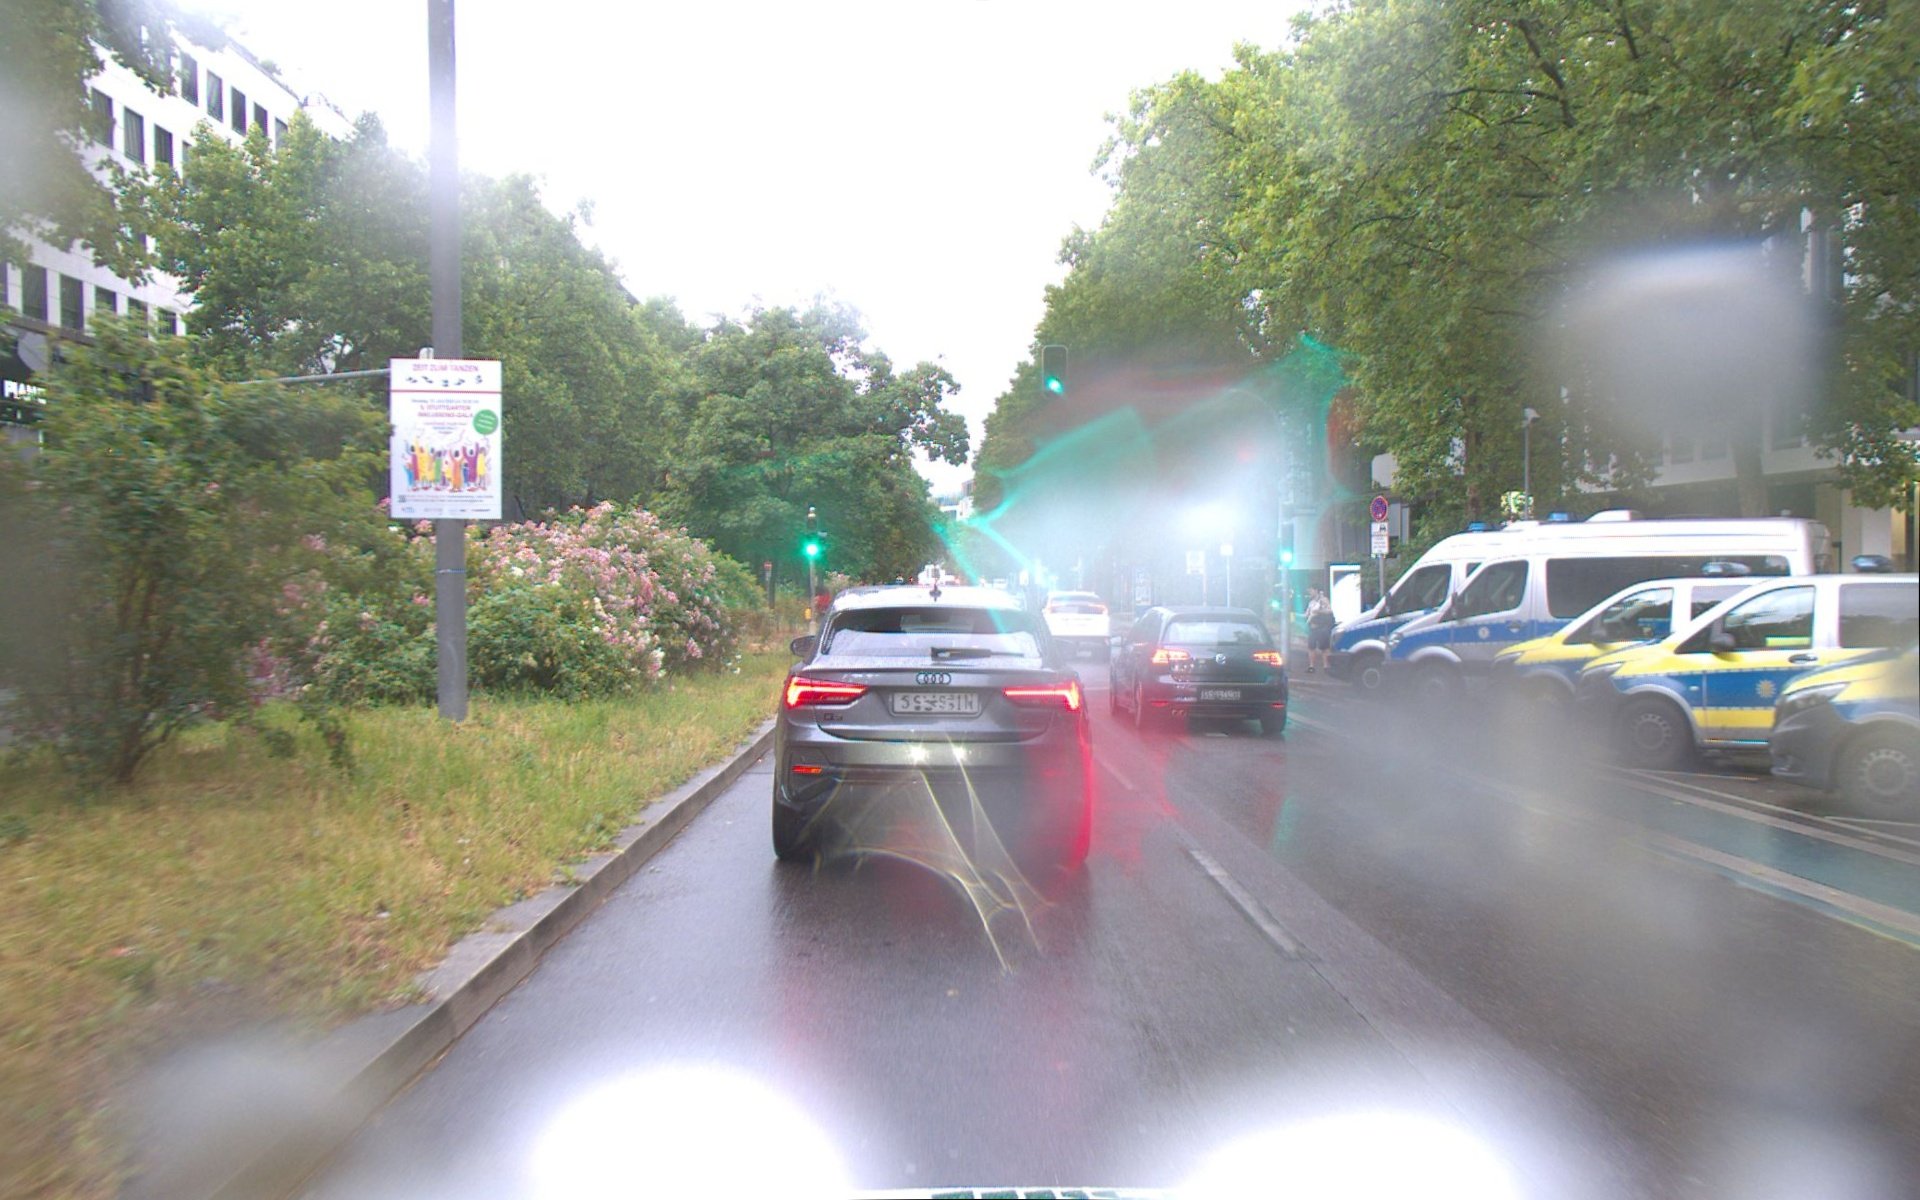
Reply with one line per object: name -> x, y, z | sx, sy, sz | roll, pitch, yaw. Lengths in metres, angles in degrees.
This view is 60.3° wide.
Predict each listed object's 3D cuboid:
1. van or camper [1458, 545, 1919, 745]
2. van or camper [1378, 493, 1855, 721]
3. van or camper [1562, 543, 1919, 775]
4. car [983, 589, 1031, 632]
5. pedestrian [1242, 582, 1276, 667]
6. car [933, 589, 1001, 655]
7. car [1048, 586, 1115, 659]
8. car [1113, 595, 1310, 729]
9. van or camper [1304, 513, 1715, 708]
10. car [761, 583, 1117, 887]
van or camper -> 8.498, 0.483, 19.111 | 4.915, 2.049, 1.993 | 0, -1, 35
van or camper -> 8.724, 0.076, 22.282 | 5.693, 2.727, 1.993 | 0, 0, 35
van or camper -> 8.537, 0.519, 15.532 | 5.102, 2.027, 1.994 | 1, 0, 34
car -> 2.033, 0.433, 72.099 | 1.953, 1.780, 4.000 | 0, 0, -1
pedestrian -> 6.587, 0.534, 36.443 | 0.594, 1.863, 0.563 | 0, 0, -10
car -> 0.139, 0.535, 43.149 | 1.687, 1.605, 3.961 | 0, 0, -1
car -> 2.967, 0.524, 40.764 | 1.404, 1.714, 2.979 | -1, 0, -1
car -> 2.976, 0.681, 20.331 | 1.729, 1.437, 3.999 | -1, 1, -1
van or camper -> 8.425, 0.130, 25.679 | 5.701, 2.724, 2.139 | 0, 0, 37
car -> -0.090, 0.673, 10.756 | 1.825, 1.559, 4.527 | 0, 0, 0
